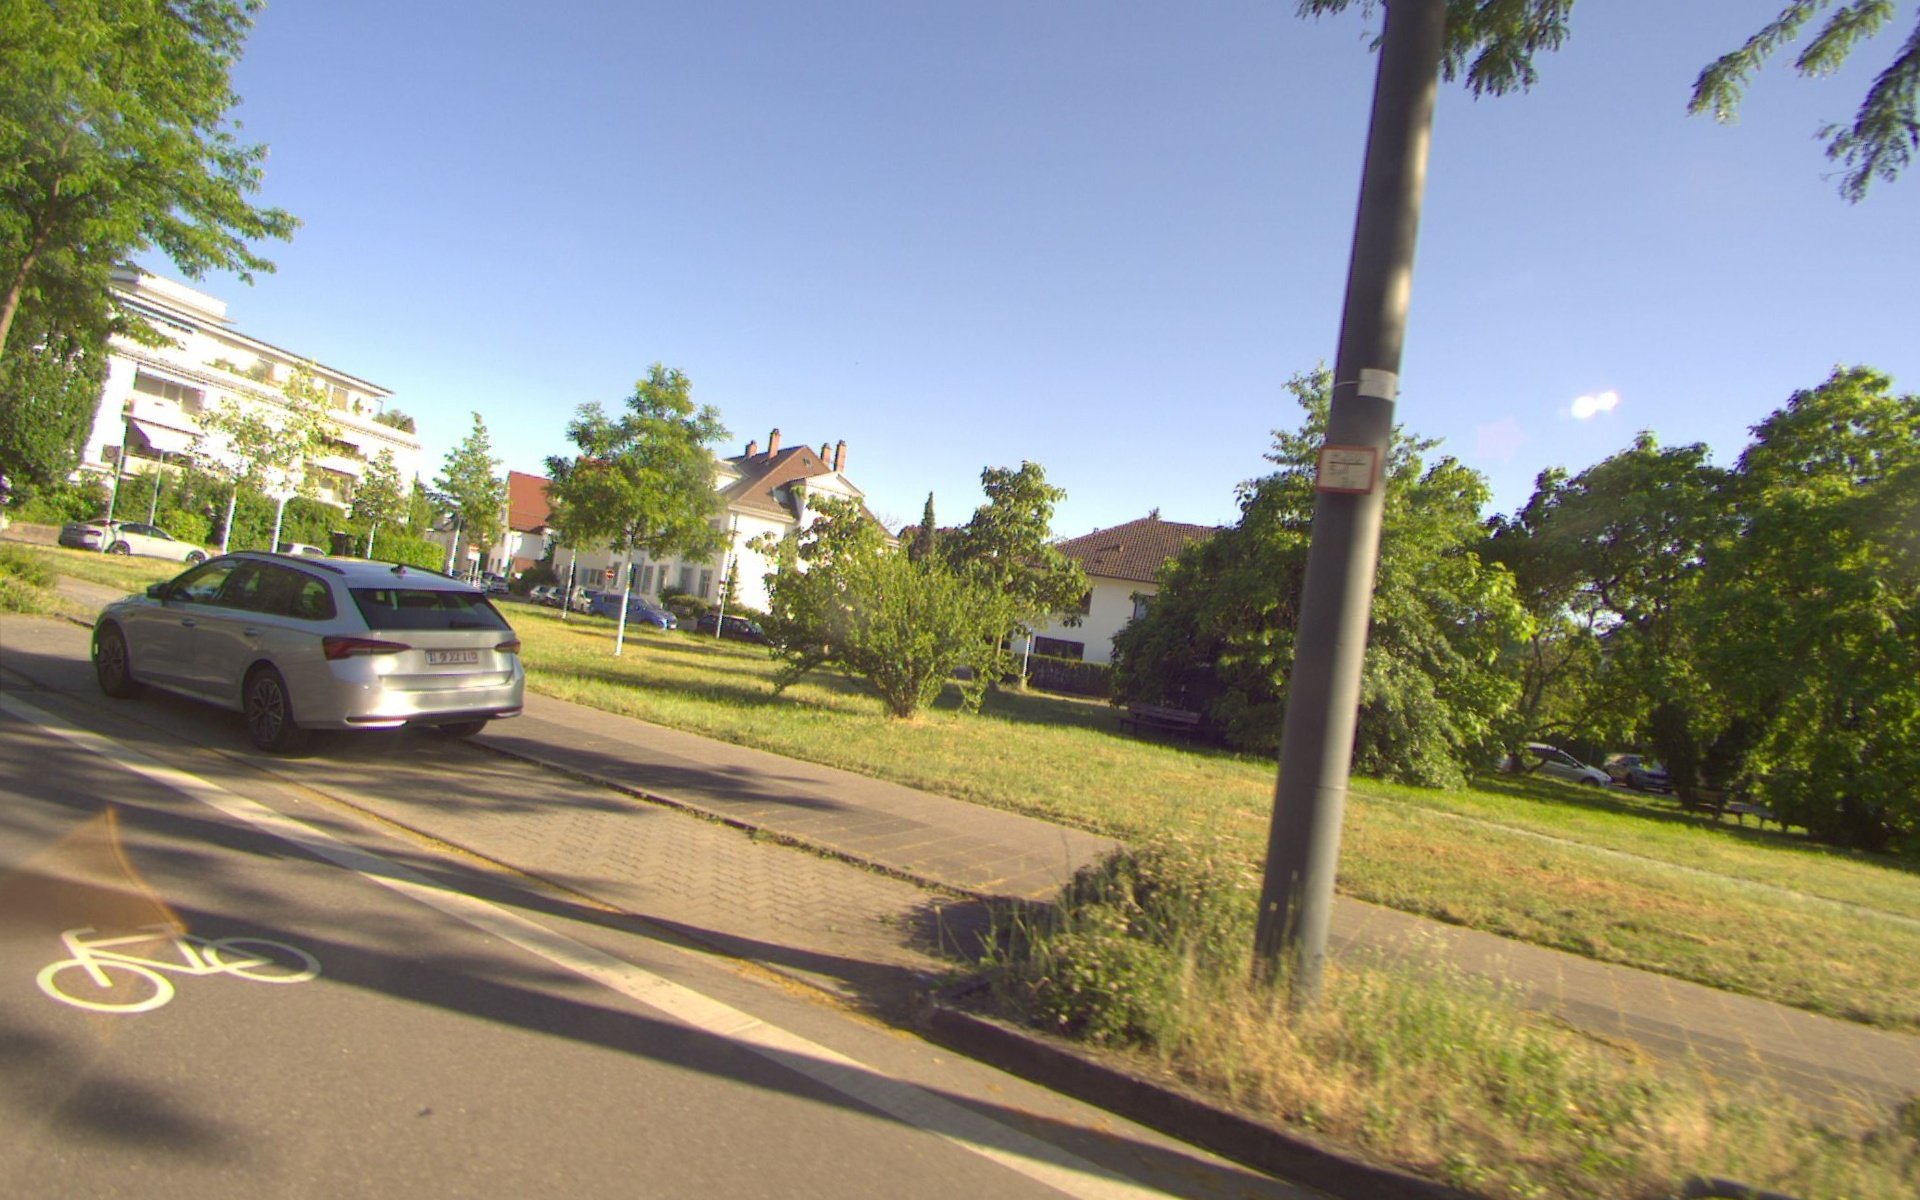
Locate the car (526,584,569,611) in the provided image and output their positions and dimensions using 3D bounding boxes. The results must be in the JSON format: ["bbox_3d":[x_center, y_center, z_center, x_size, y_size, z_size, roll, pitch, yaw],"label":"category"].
[{"bbox_3d":[-31.287,-0.213,76.235,1.985,1.536,3.961,10,-3,-36],"label":"car"}]

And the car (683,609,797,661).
[{"bbox_3d":[-10.408,1.666,47.653,4.677,1.667,2.005,8,-3,11],"label":"car"}]

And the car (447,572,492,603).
[{"bbox_3d":[-34.637,-0.914,70.968,2.036,1.726,4.248,10,-3,-35],"label":"car"}]

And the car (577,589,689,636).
[{"bbox_3d":[-15.937,0.614,49.079,4.665,1.487,2.068,8,-2,12],"label":"car"}]

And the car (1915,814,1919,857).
[{"bbox_3d":[27.487,6.390,26.164,1.962,1.610,4.235,8,-2,16],"label":"car"}]

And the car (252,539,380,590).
[{"bbox_3d":[-27.584,-1.470,43.264,1.806,1.527,4.300,5,-4,19],"label":"car"}]

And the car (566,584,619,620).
[{"bbox_3d":[-23.817,0.107,65.073,1.983,1.862,4.518,10,-4,-34],"label":"car"}]

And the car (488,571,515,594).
[{"bbox_3d":[-42.437,-1.637,93.013,1.860,1.726,4.261,10,-3,-27],"label":"car"}]

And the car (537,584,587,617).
[{"bbox_3d":[-28.389,0.001,71.681,1.985,1.804,4.557,10,-3,-37],"label":"car"}]

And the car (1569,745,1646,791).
[{"bbox_3d":[34.906,9.032,54.355,1.962,1.816,4.008,8,-3,11],"label":"car"}]

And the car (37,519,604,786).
[{"bbox_3d":[-5.885,0.308,9.038,5.341,1.484,2.003,7,1,30],"label":"car"}]

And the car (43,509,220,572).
[{"bbox_3d":[-29.548,-2.073,36.086,1.931,1.384,4.533,8,-3,14],"label":"car"}]

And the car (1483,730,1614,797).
[{"bbox_3d":[23.107,6.380,39.656,3.925,1.816,2.003,8,-2,18],"label":"car"}]
